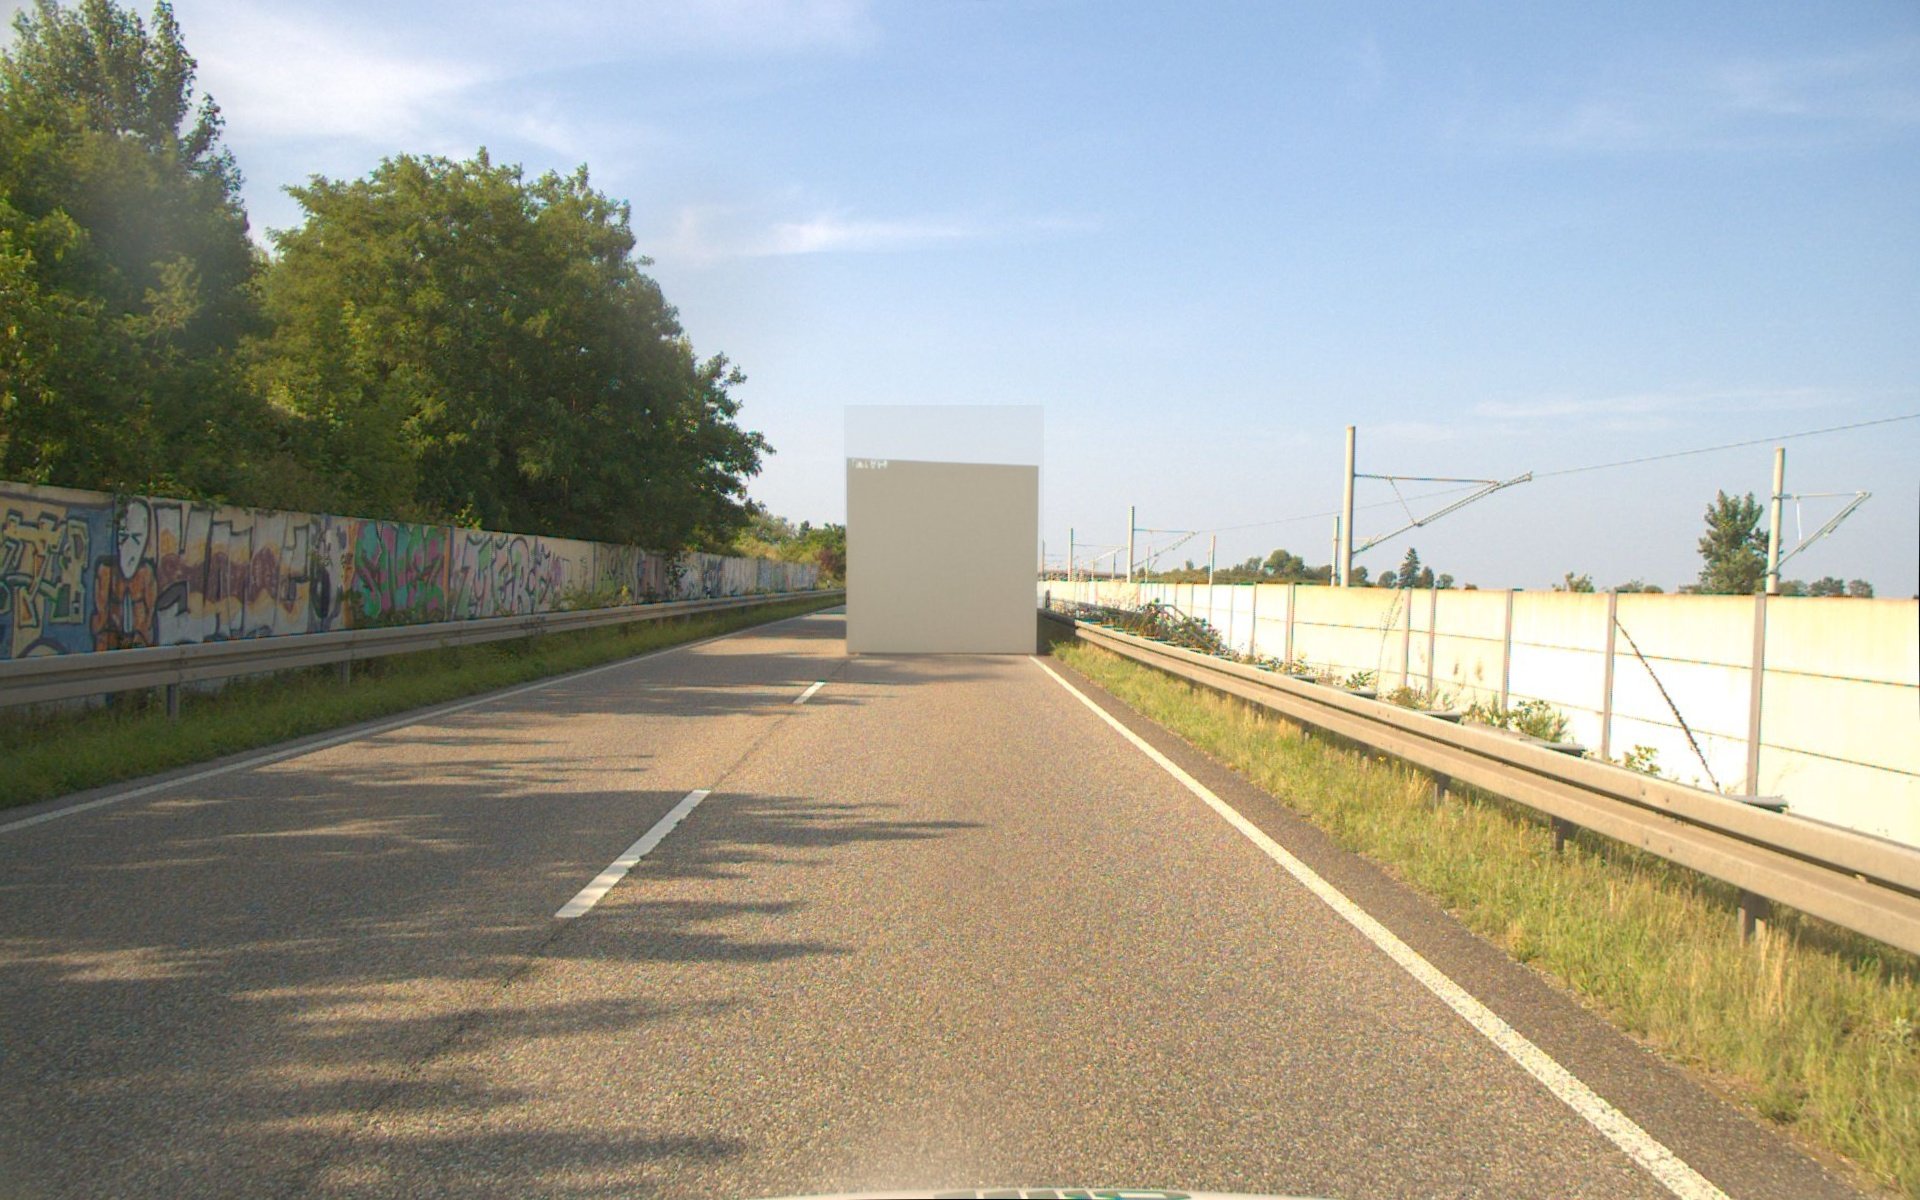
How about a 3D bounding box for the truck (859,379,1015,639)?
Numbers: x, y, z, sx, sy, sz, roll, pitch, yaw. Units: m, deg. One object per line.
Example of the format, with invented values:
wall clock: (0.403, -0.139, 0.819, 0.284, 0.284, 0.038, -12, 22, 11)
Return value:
truck: (-0.576, -1.892, 37.947, 2.971, 5.006, 11.682, 1, 1, -1)
